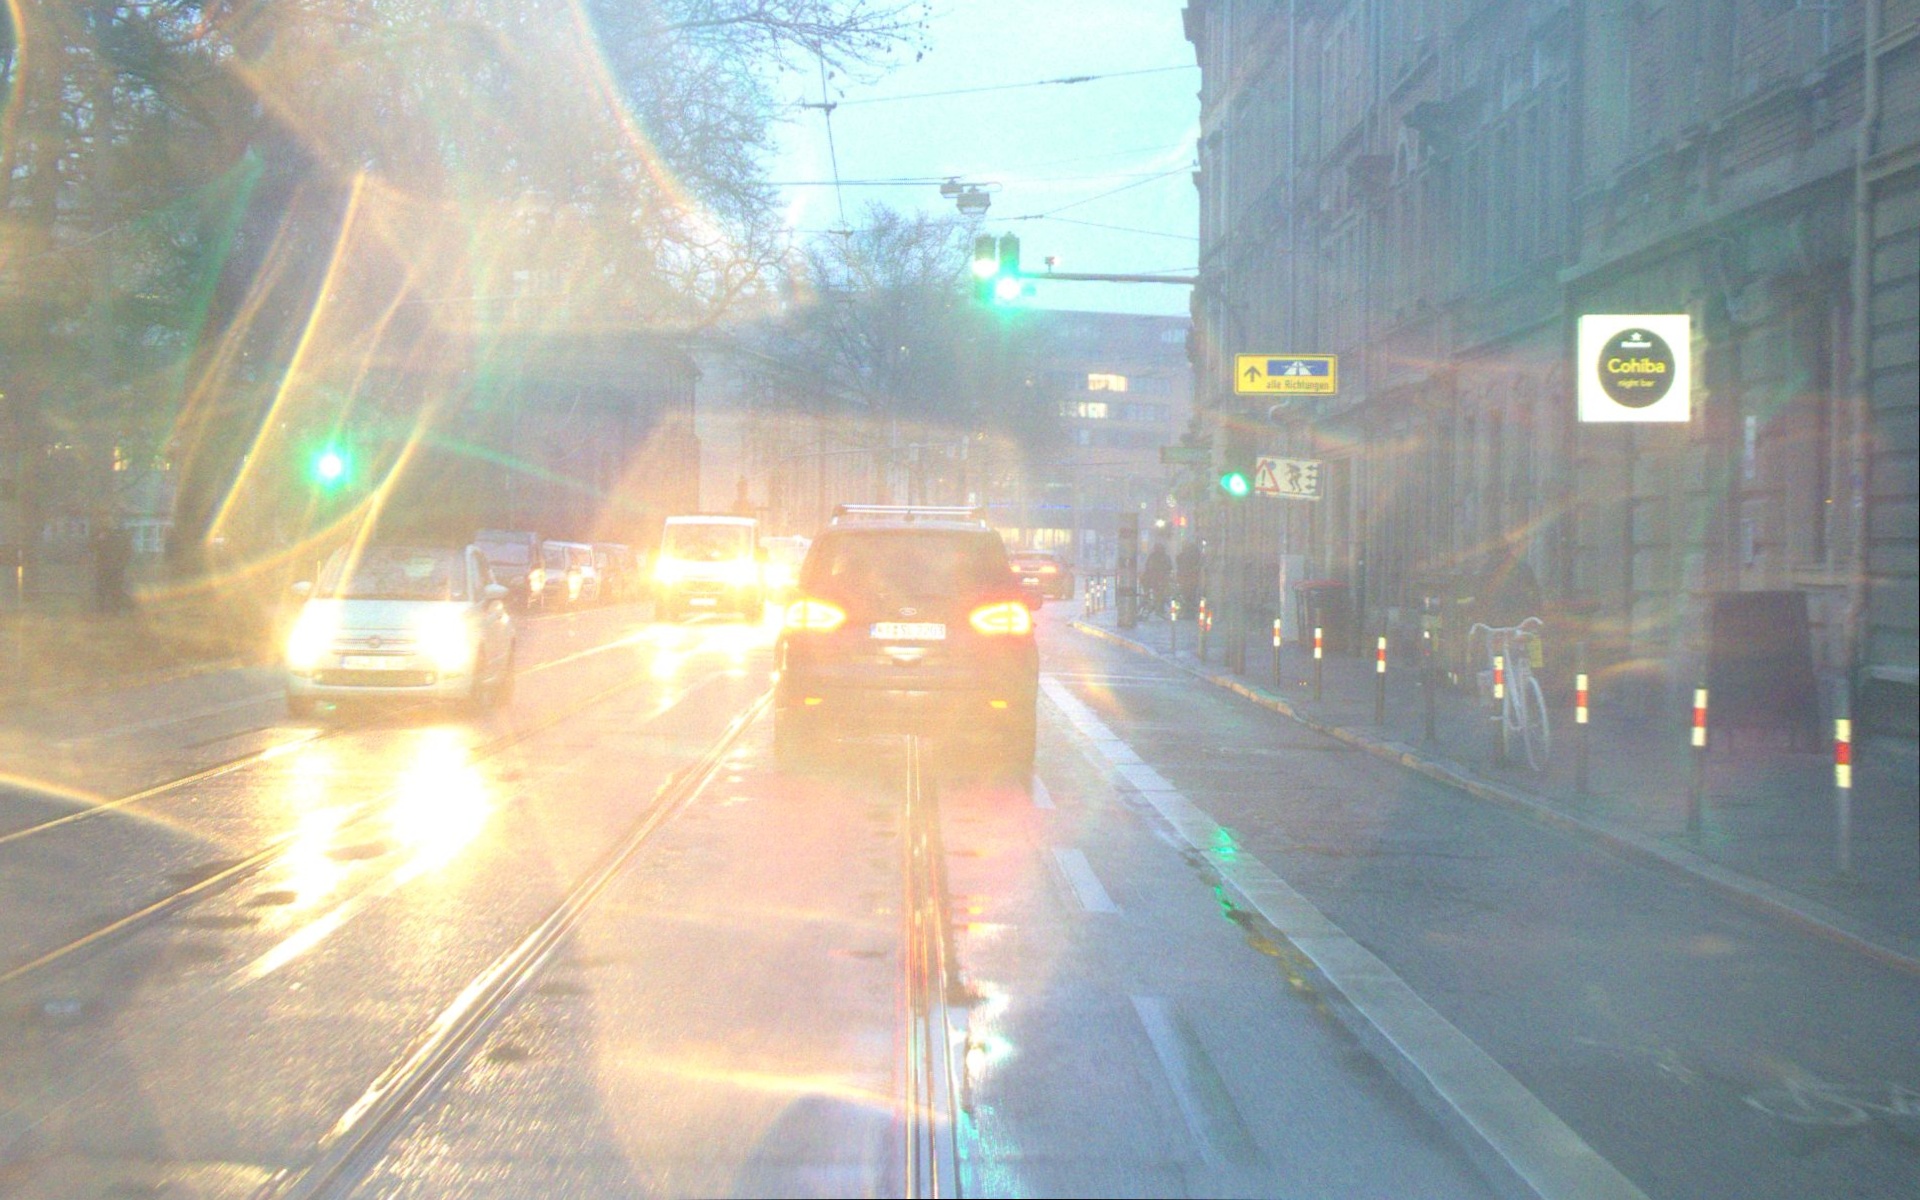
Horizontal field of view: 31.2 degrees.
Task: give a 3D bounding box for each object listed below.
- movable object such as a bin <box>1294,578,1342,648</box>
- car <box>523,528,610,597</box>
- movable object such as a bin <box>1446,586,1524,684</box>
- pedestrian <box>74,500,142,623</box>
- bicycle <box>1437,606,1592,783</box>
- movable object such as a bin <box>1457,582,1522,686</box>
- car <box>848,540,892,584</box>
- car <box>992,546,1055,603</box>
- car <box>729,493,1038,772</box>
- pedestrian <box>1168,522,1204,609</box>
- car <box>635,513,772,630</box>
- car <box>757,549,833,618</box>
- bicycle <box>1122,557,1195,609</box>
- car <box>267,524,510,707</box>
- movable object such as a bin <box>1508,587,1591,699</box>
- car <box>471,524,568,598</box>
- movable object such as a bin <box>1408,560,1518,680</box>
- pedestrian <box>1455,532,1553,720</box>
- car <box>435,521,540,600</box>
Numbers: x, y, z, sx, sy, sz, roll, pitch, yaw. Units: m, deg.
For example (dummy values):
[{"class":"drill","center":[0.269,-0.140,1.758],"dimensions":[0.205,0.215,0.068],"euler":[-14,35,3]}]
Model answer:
[{"class":"movable object such as a bin","center":[5.510,0.193,52.927],"dimensions":[0.640,1.051,0.744],"euler":[1,0,-1]},{"class":"car","center":[-9.772,-0.933,85.674],"dimensions":[1.983,1.610,4.430],"euler":[1,0,-5]},{"class":"movable object such as a bin","center":[5.668,0.374,37.111],"dimensions":[0.765,1.035,0.599],"euler":[1,1,15]},{"class":"pedestrian","center":[-12.847,-0.580,51.880],"dimensions":[0.820,1.809,1.010],"euler":[1,0,-6]},{"class":"bicycle","center":[3.874,0.636,24.175],"dimensions":[0.684,1.152,2.188],"euler":[1,0,-1]},{"class":"movable object such as a bin","center":[5.611,0.356,36.444],"dimensions":[0.611,1.078,0.599],"euler":[1,1,15]},{"class":"car","center":[-4.297,-1.813,165.055],"dimensions":[1.993,2.007,4.000],"euler":[1,0,-1]},{"class":"car","center":[2.111,-0.859,113.670],"dimensions":[1.993,1.835,4.000],"euler":[1,1,2]},{"class":"car","center":[-0.472,0.194,25.078],"dimensions":[1.993,1.835,4.000],"euler":[1,1,2]},{"class":"pedestrian","center":[5.112,-0.786,77.779],"dimensions":[0.715,1.946,0.657],"euler":[1,0,0]},{"class":"car","center":[-5.290,-0.599,71.561],"dimensions":[2.446,2.339,5.845],"euler":[0,0,0]},{"class":"car","center":[-4.998,-0.515,104.432],"dimensions":[1.993,2.007,4.000],"euler":[1,0,1]},{"class":"bicycle","center":[4.467,-0.386,77.572],"dimensions":[0.792,1.140,2.244],"euler":[1,0,-20]},{"class":"car","center":[-4.912,0.098,29.926],"dimensions":[1.530,1.476,3.561],"euler":[1,1,0]},{"class":"movable object such as a bin","center":[5.777,0.415,33.699],"dimensions":[0.611,1.077,0.491],"euler":[0,1,-29]},{"class":"car","center":[-10.102,-0.890,79.126],"dimensions":[1.983,1.610,4.430],"euler":[1,0,-5]},{"class":"movable object such as a bin","center":[5.572,0.212,38.172],"dimensions":[0.887,1.284,1.262],"euler":[0,1,-7]},{"class":"pedestrian","center":[5.046,0.232,31.934],"dimensions":[0.835,1.695,0.953],"euler":[1,0,8]},{"class":"car","center":[-10.168,-0.853,74.305],"dimensions":[1.983,1.610,4.430],"euler":[1,0,-5]}]
